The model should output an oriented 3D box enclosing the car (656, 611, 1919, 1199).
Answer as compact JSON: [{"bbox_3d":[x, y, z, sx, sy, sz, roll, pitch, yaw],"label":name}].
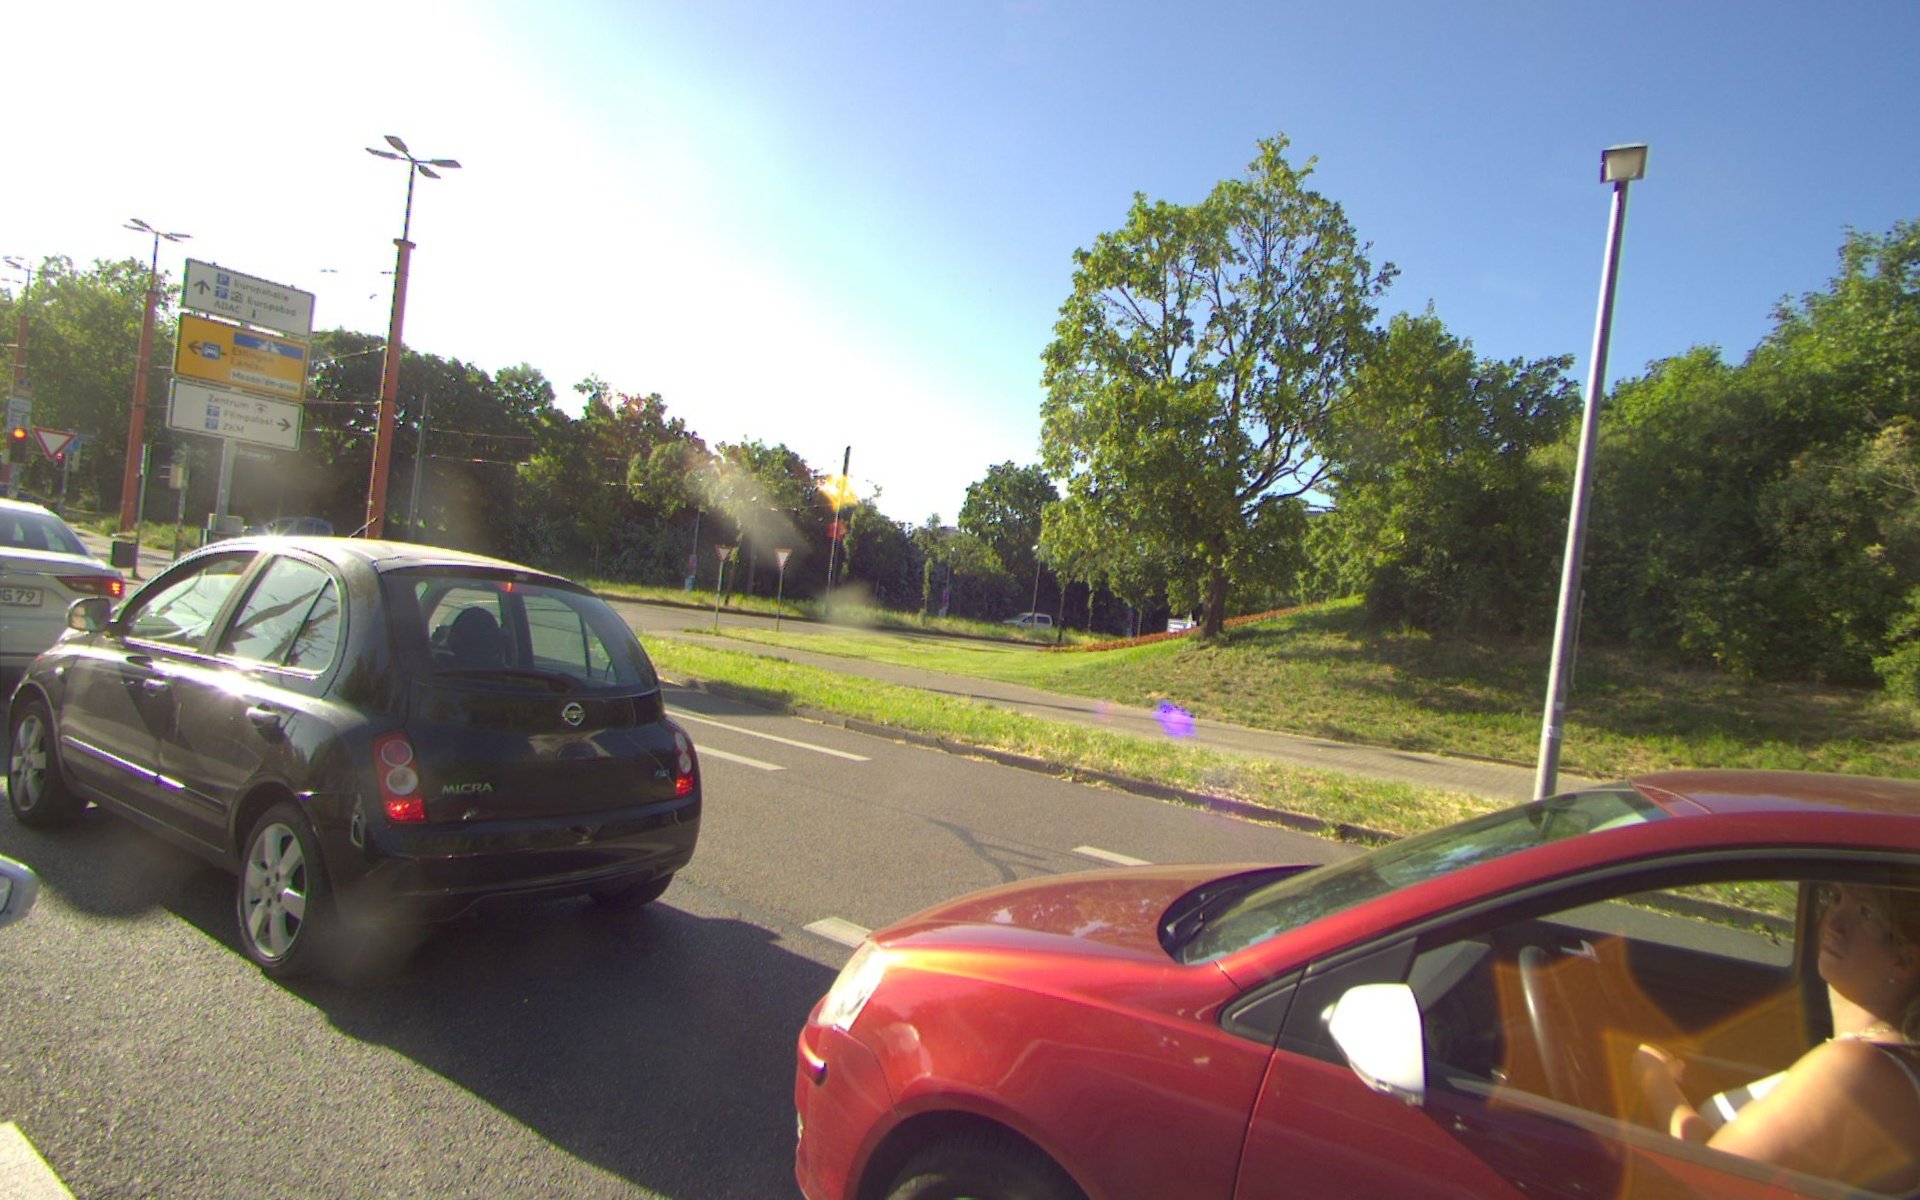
[{"bbox_3d":[1.339,1.000,1.874,3.629,1.477,1.579,6,-2,32],"label":"car"}]

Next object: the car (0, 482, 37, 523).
[{"bbox_3d":[-47.824,-4.981,48.788,4.092,1.812,1.783,8,-1,-33],"label":"car"}]

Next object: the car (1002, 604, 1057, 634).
[{"bbox_3d":[5.560,1.525,80.295,4.093,1.771,1.642,8,-1,-33],"label":"car"}]

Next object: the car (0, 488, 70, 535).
[{"bbox_3d":[-44.518,-4.272,46.847,4.084,1.812,1.787,8,-1,-27],"label":"car"}]

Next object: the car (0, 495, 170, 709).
[{"bbox_3d":[-8.376,-0.177,8.085,4.256,1.457,1.802,6,-2,33],"label":"car"}]

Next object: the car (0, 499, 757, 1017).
[{"bbox_3d":[-2.804,0.465,4.630,3.385,1.457,1.579,6,-2,32],"label":"car"}]

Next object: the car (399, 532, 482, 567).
[{"bbox_3d":[-30.644,-2.954,59.386,4.093,1.419,1.642,8,-1,-33],"label":"car"}]

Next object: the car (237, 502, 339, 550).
[{"bbox_3d":[-35.002,-3.825,52.525,4.087,1.812,1.786,8,-1,-29],"label":"car"}]

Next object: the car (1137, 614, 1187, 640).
[{"bbox_3d":[17.676,2.385,88.041,4.176,1.701,1.643,8,-1,-32],"label":"car"}]
